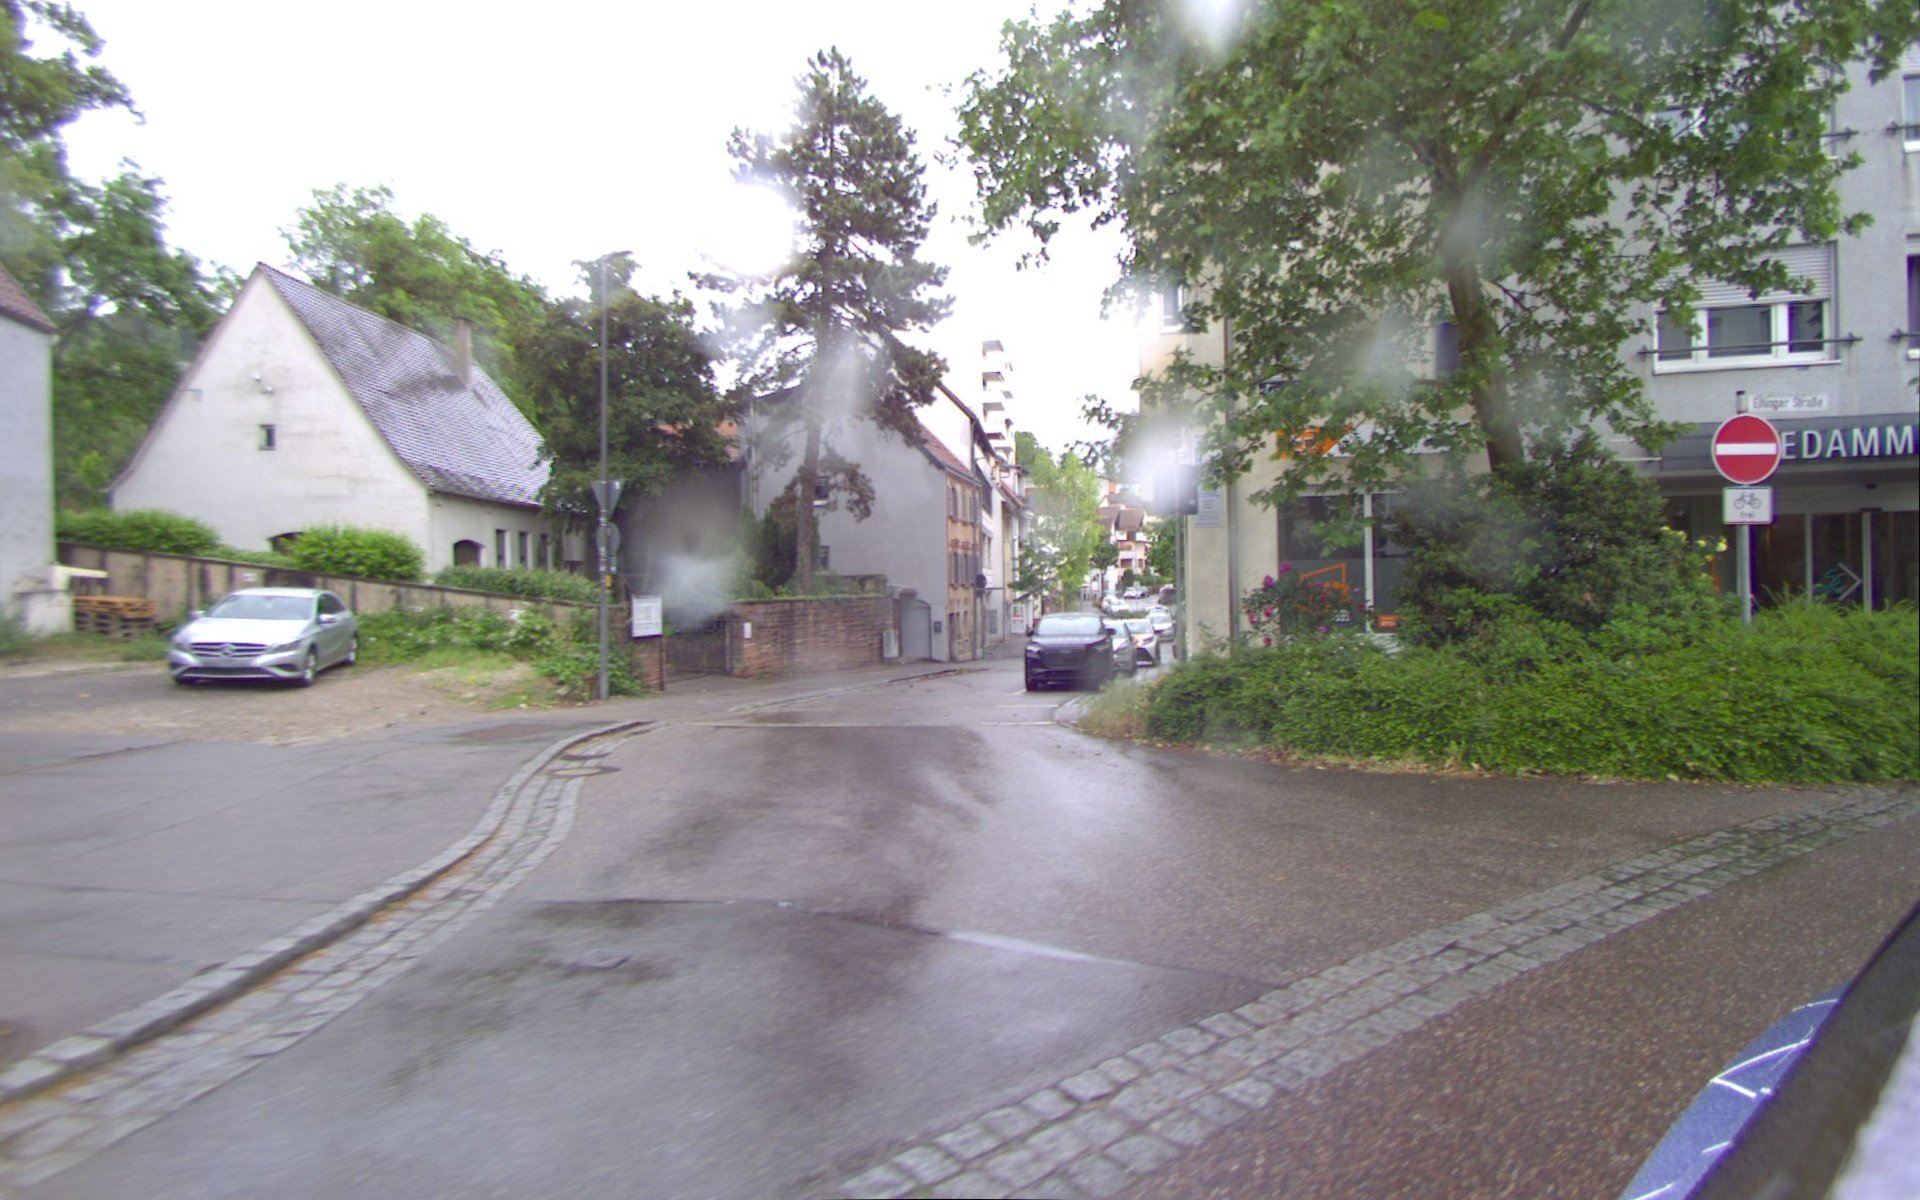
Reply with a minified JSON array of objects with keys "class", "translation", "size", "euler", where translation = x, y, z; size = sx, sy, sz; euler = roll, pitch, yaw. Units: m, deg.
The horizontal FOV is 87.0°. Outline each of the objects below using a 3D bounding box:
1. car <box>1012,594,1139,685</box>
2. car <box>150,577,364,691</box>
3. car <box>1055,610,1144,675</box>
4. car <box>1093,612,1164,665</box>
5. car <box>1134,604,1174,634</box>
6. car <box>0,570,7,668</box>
[{"class":"car","translation":[2.569,0.906,21.648],"size":[1.972,1.673,3.976],"euler":[-4,-5,16]},{"class":"car","translation":[-11.144,0.464,16.366],"size":[1.794,1.492,4.010],"euler":[2,2,-19]},{"class":"car","translation":[3.836,1.092,27.249],"size":[1.971,1.594,3.981],"euler":[0,-1,14]},{"class":"car","translation":[5.558,1.209,33.006],"size":[1.971,1.594,3.981],"euler":[0,-1,14]},{"class":"car","translation":[10.751,1.032,55.981],"size":[1.971,1.594,3.982],"euler":[0,0,14]},{"class":"car","translation":[-10.272,0.518,7.914],"size":[3.932,1.794,1.996],"euler":[3,-1,7]}]
